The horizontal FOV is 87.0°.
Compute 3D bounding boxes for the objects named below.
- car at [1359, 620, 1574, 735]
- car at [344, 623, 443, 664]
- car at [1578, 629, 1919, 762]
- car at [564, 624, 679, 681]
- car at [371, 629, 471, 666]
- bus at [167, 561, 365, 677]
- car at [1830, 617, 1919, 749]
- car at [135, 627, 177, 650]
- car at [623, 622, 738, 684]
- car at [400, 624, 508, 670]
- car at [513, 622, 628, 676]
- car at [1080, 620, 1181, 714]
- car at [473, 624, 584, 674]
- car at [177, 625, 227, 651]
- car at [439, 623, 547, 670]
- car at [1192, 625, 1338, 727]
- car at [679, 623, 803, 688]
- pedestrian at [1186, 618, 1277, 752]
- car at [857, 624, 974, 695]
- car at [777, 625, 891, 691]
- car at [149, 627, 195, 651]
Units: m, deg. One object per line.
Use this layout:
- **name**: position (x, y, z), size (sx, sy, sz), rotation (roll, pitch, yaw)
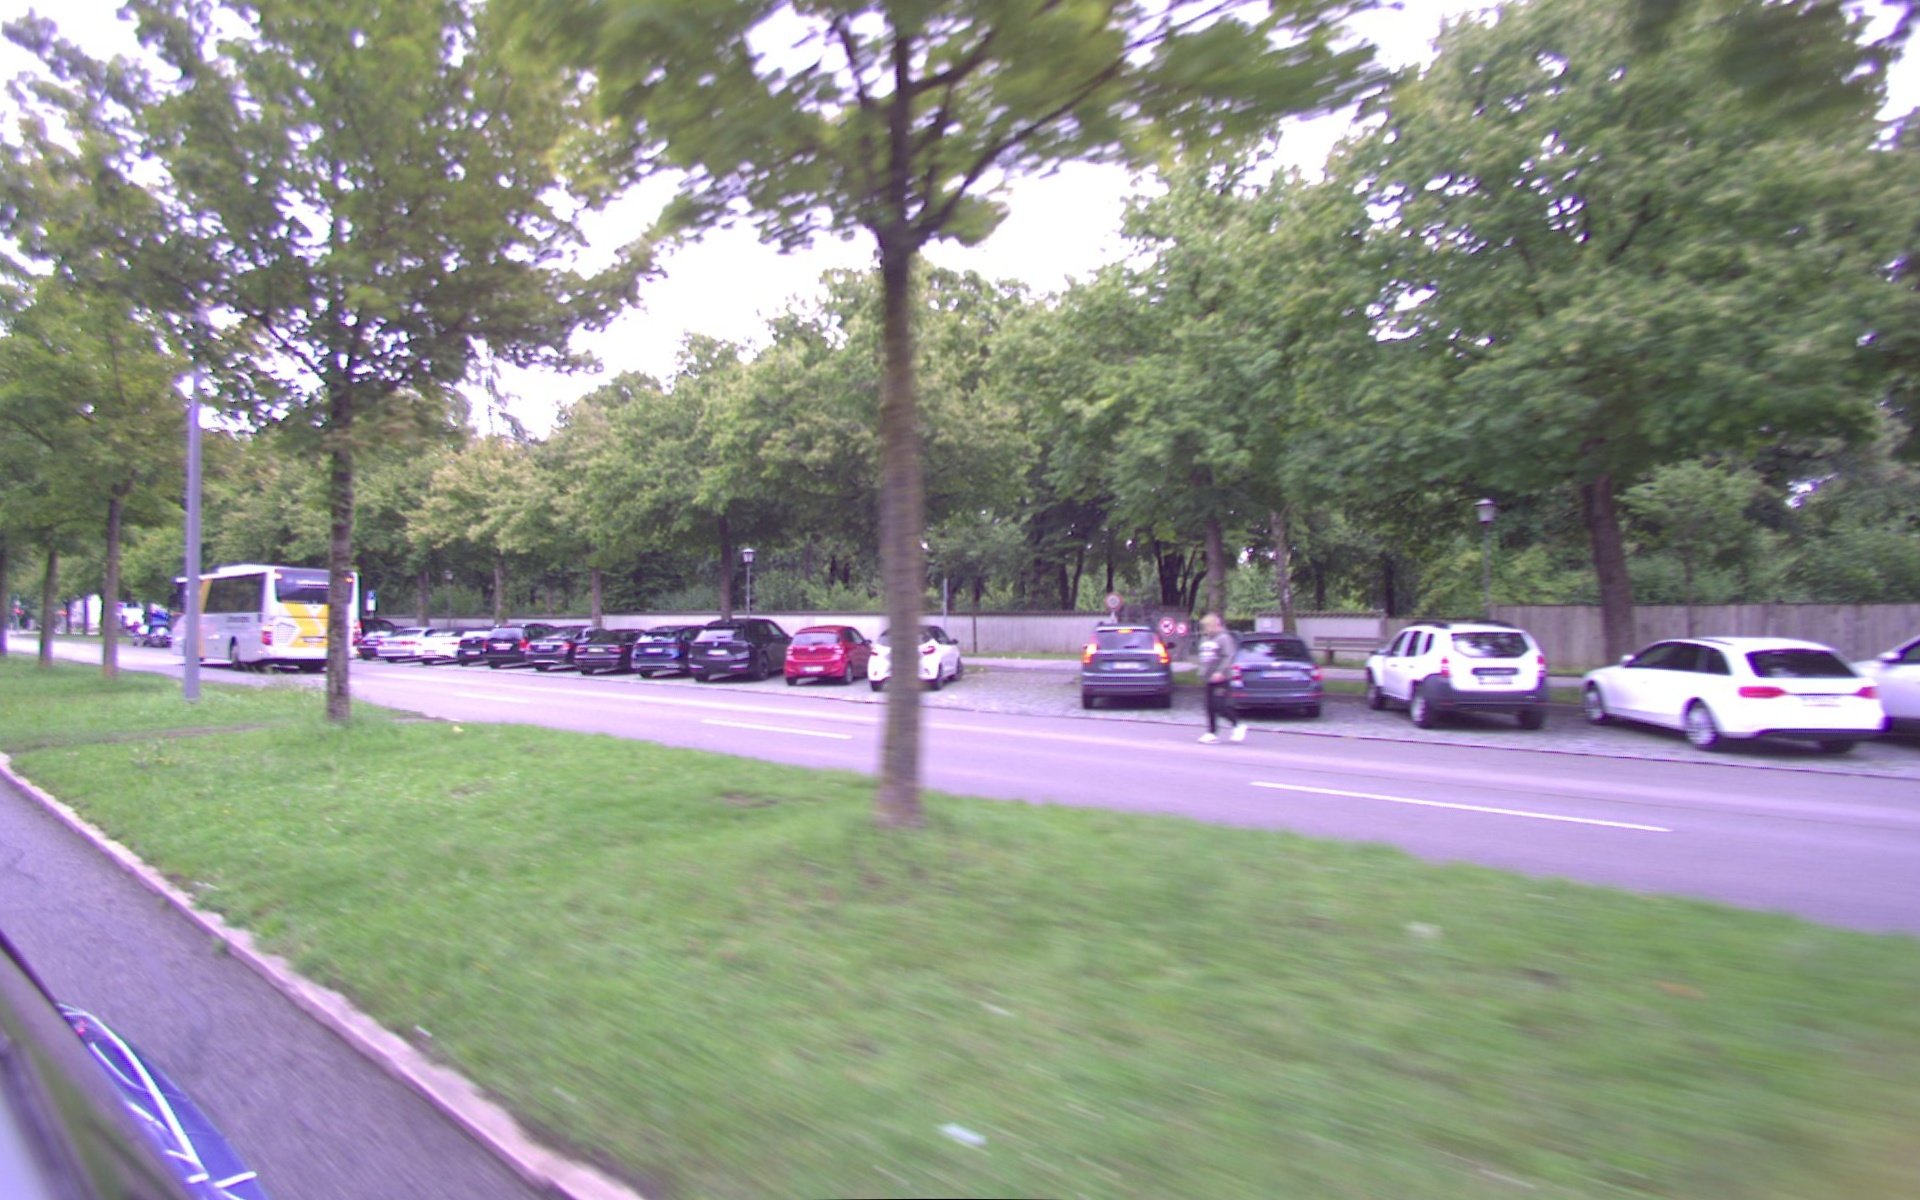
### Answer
- **car**: position (8.160, 1.166, 16.793), size (1.780, 1.585, 4.316), rotation (0, 0, 6)
- **car**: position (-24.905, 1.887, 44.673), size (1.869, 1.654, 3.992), rotation (0, 0, 6)
- **car**: position (10.602, 1.177, 14.018), size (1.780, 1.449, 4.316), rotation (0, 0, 6)
- **car**: position (-10.745, 1.617, 32.407), size (1.870, 1.569, 3.990), rotation (-2, 0, 8)
- **car**: position (-22.380, 1.956, 42.170), size (1.574, 1.376, 3.987), rotation (-1, 0, 10)
- **bus**: position (-23.708, 0.667, 34.153), size (11.922, 3.323, 2.641), rotation (-1, -3, 42)
- **car**: position (12.931, 1.045, 12.115), size (1.779, 1.635, 3.994), rotation (0, 0, 5)
- **car**: position (-55.818, 2.633, 70.248), size (1.864, 1.454, 4.171), rotation (0, -1, -45)
- **car**: position (-8.265, 1.533, 30.299), size (1.870, 1.569, 3.990), rotation (-2, 0, 8)
- **car**: position (-19.911, 1.828, 40.049), size (1.870, 1.569, 3.990), rotation (-2, 0, 8)
- **car**: position (-13.060, 1.620, 34.204), size (1.870, 1.569, 3.990), rotation (-2, 0, 8)
- **car**: position (3.536, 1.285, 20.571), size (1.783, 1.599, 3.985), rotation (-2, 0, 12)
- **car**: position (-15.524, 1.718, 36.664), size (1.870, 1.569, 3.990), rotation (-2, 0, 8)
- **car**: position (-45.516, 2.240, 60.755), size (1.864, 1.454, 4.171), rotation (0, -1, -45)
- **car**: position (-17.743, 1.741, 38.672), size (1.870, 1.569, 3.990), rotation (-2, 0, 8)
- **car**: position (5.390, 1.289, 18.387), size (1.779, 1.497, 3.992), rotation (-2, 0, 6)
- **car**: position (-6.029, 1.503, 28.354), size (1.873, 1.569, 3.983), rotation (-2, 0, 13)
- **pedestrian**: position (3.622, 1.101, 13.521), size (0.859, 1.711, 0.773), rotation (2, -2, -29)
- **car**: position (-1.001, 1.414, 24.951), size (1.873, 1.474, 3.983), rotation (-2, 0, 13)
- **car**: position (-3.261, 1.491, 26.996), size (1.723, 1.466, 3.983), rotation (-2, 0, 13)
- **car**: position (-51.674, 2.548, 66.348), size (1.864, 1.454, 4.171), rotation (0, -1, -45)
